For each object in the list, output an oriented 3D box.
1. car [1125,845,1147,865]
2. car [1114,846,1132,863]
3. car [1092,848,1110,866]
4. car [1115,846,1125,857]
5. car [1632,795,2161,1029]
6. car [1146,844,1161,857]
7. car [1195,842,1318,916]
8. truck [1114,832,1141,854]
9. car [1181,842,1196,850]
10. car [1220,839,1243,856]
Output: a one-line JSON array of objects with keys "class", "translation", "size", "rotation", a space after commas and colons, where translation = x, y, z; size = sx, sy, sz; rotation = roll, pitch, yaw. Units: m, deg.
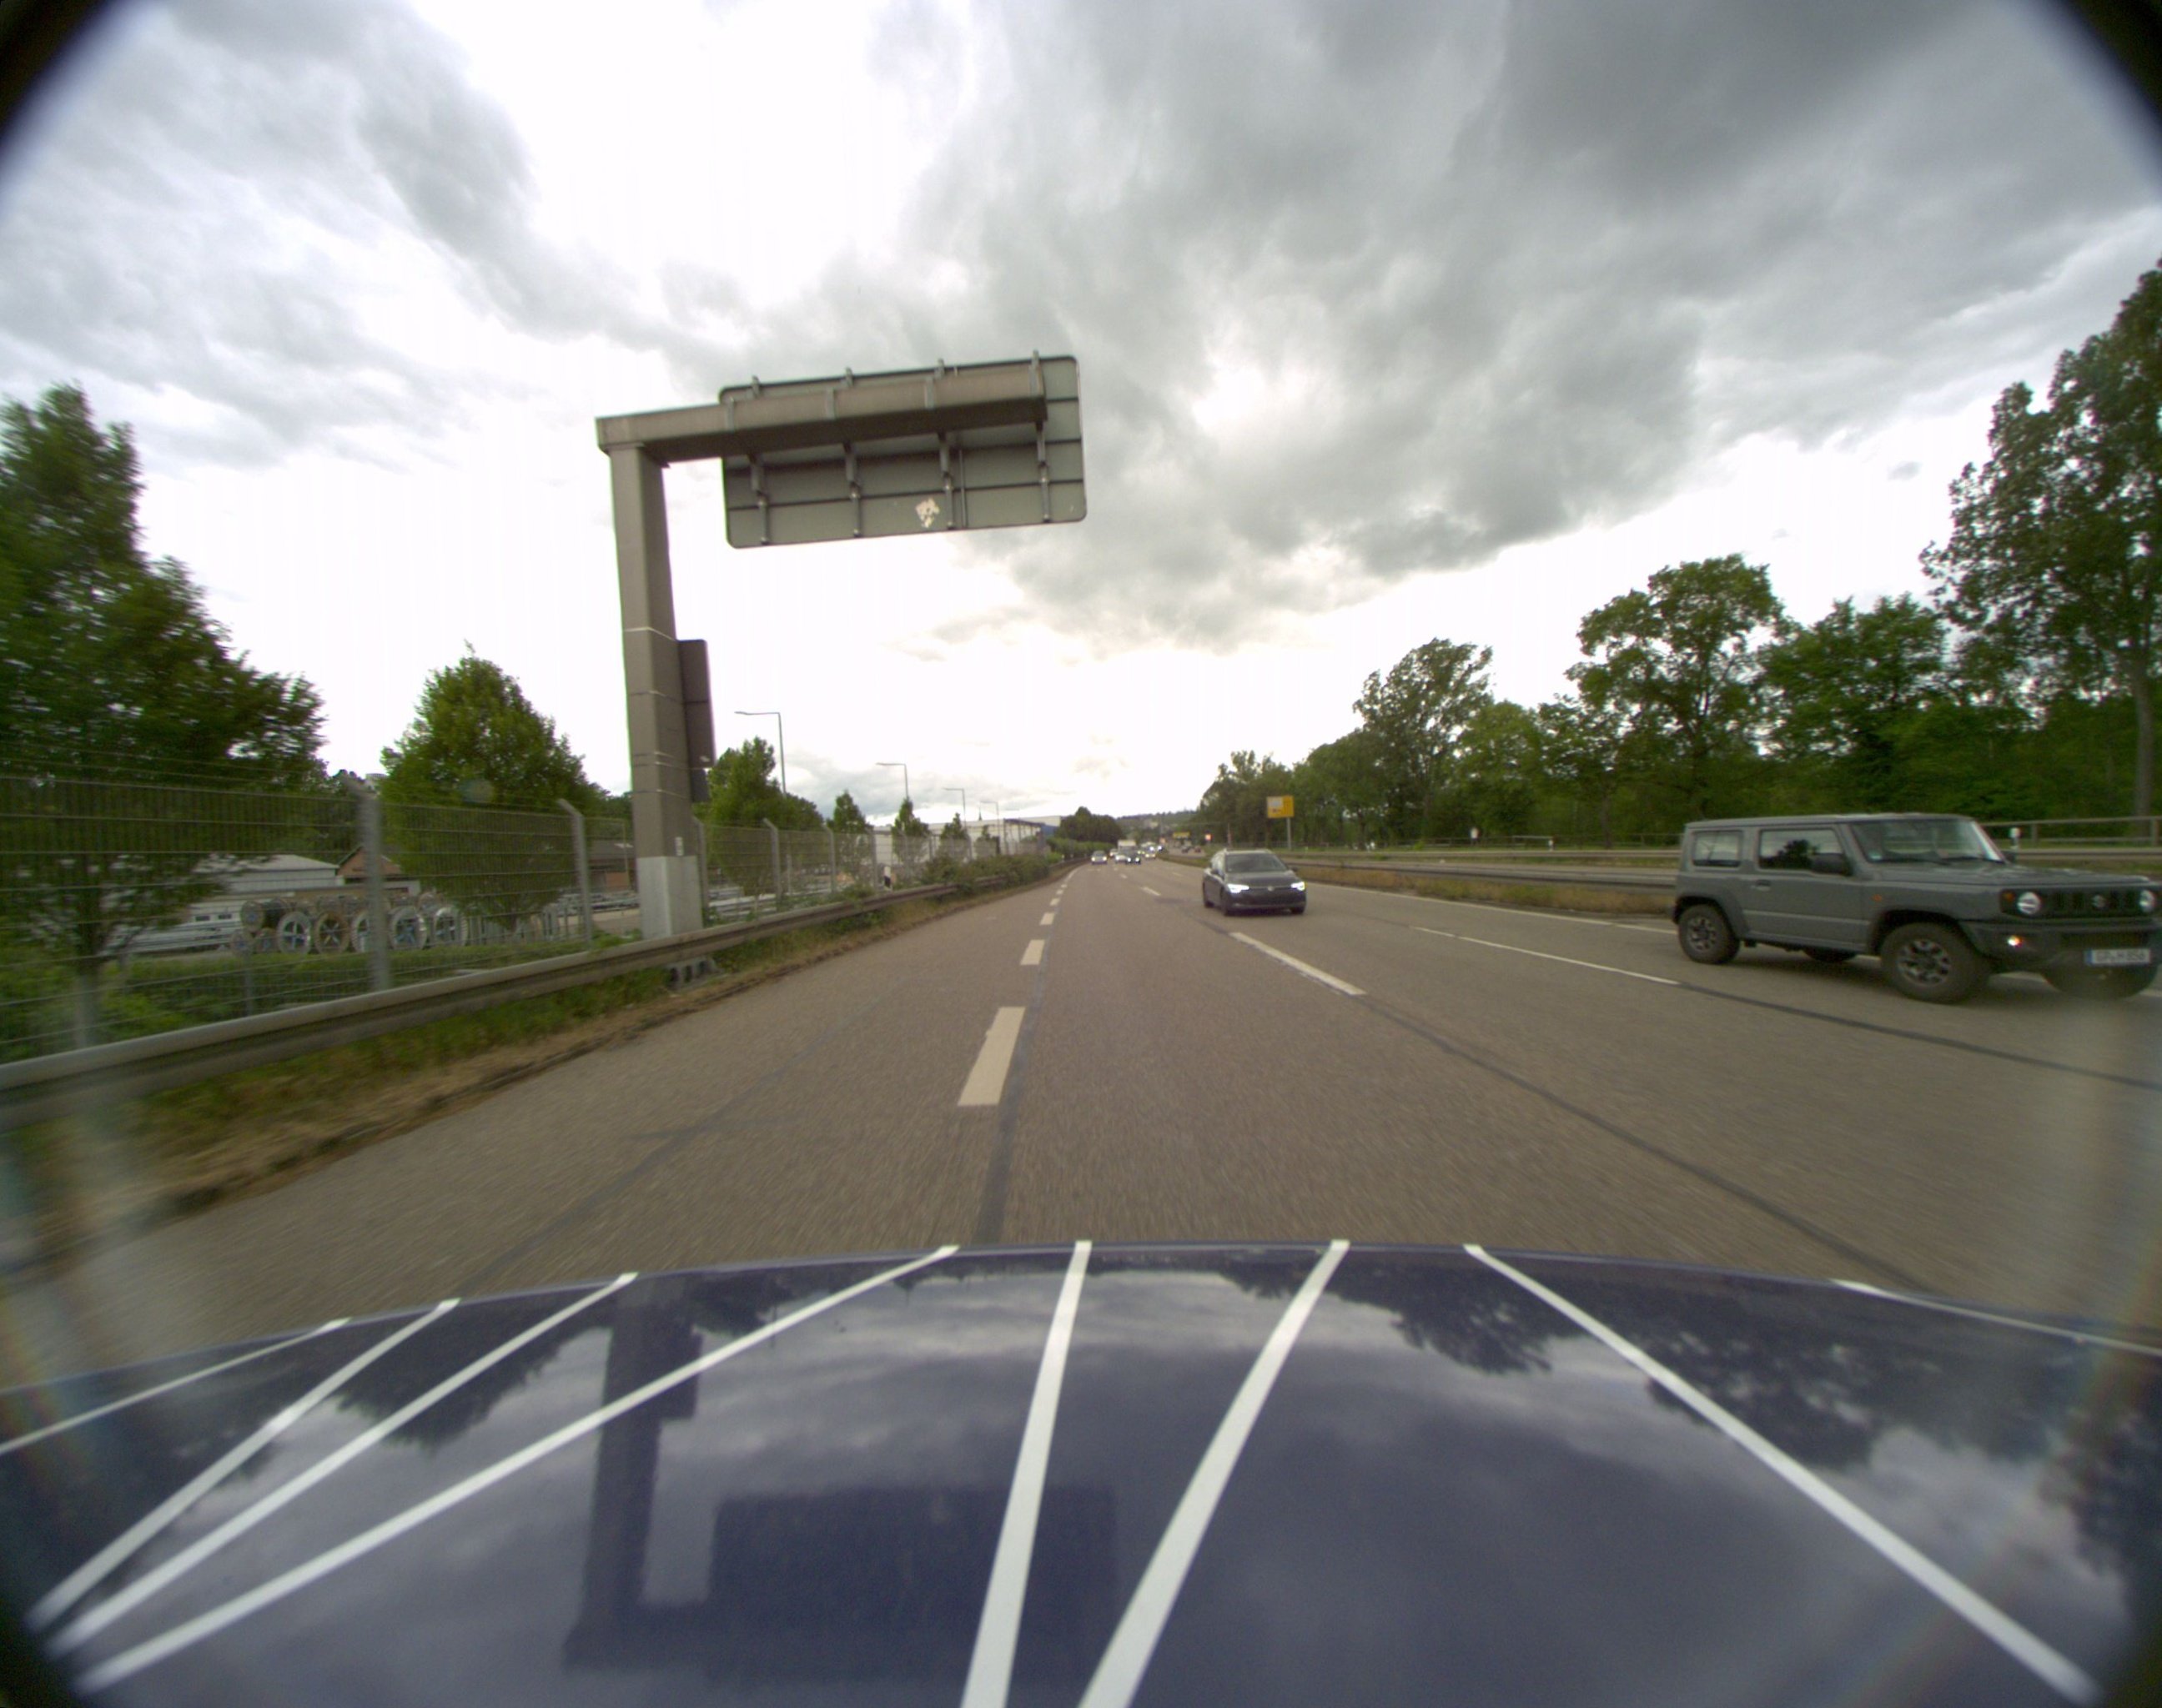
[{"class": "car", "translation": [6.036, 0.126, 83.800], "size": [1.998, 2.002, 4.000], "rotation": [-4, 0, 1]}, {"class": "car", "translation": [5.348, 0.008, 97.058], "size": [1.998, 2.002, 4.000], "rotation": [-4, 0, 1]}, {"class": "car", "translation": [2.365, 0.304, 91.583], "size": [1.998, 2.002, 4.000], "rotation": [-4, 0, 1]}, {"class": "car", "translation": [8.307, -0.538, 161.966], "size": [1.998, 2.002, 4.000], "rotation": [-4, 0, 1]}, {"class": "car", "translation": [7.906, 0.389, 7.693], "size": [1.685, 1.726, 3.997], "rotation": [-2, 1, -1]}, {"class": "car", "translation": [11.814, -0.542, 124.116], "size": [1.998, 2.002, 4.000], "rotation": [-4, 0, 1]}, {"class": "car", "translation": [4.004, 0.505, 18.086], "size": [1.940, 1.492, 4.303], "rotation": [-2, 0, 1]}, {"class": "truck", "translation": [6.942, -1.765, 114.627], "size": [3.040, 3.141, 7.564], "rotation": [-2, 2, -3]}, {"class": "car", "translation": [31.631, -2.389, 224.206], "size": [3.996, 2.002, 2.000], "rotation": [-4, 1, 3]}, {"class": "car", "translation": [19.022, -0.833, 96.393], "size": [1.999, 2.002, 3.999], "rotation": [-2, 1, -1]}]
